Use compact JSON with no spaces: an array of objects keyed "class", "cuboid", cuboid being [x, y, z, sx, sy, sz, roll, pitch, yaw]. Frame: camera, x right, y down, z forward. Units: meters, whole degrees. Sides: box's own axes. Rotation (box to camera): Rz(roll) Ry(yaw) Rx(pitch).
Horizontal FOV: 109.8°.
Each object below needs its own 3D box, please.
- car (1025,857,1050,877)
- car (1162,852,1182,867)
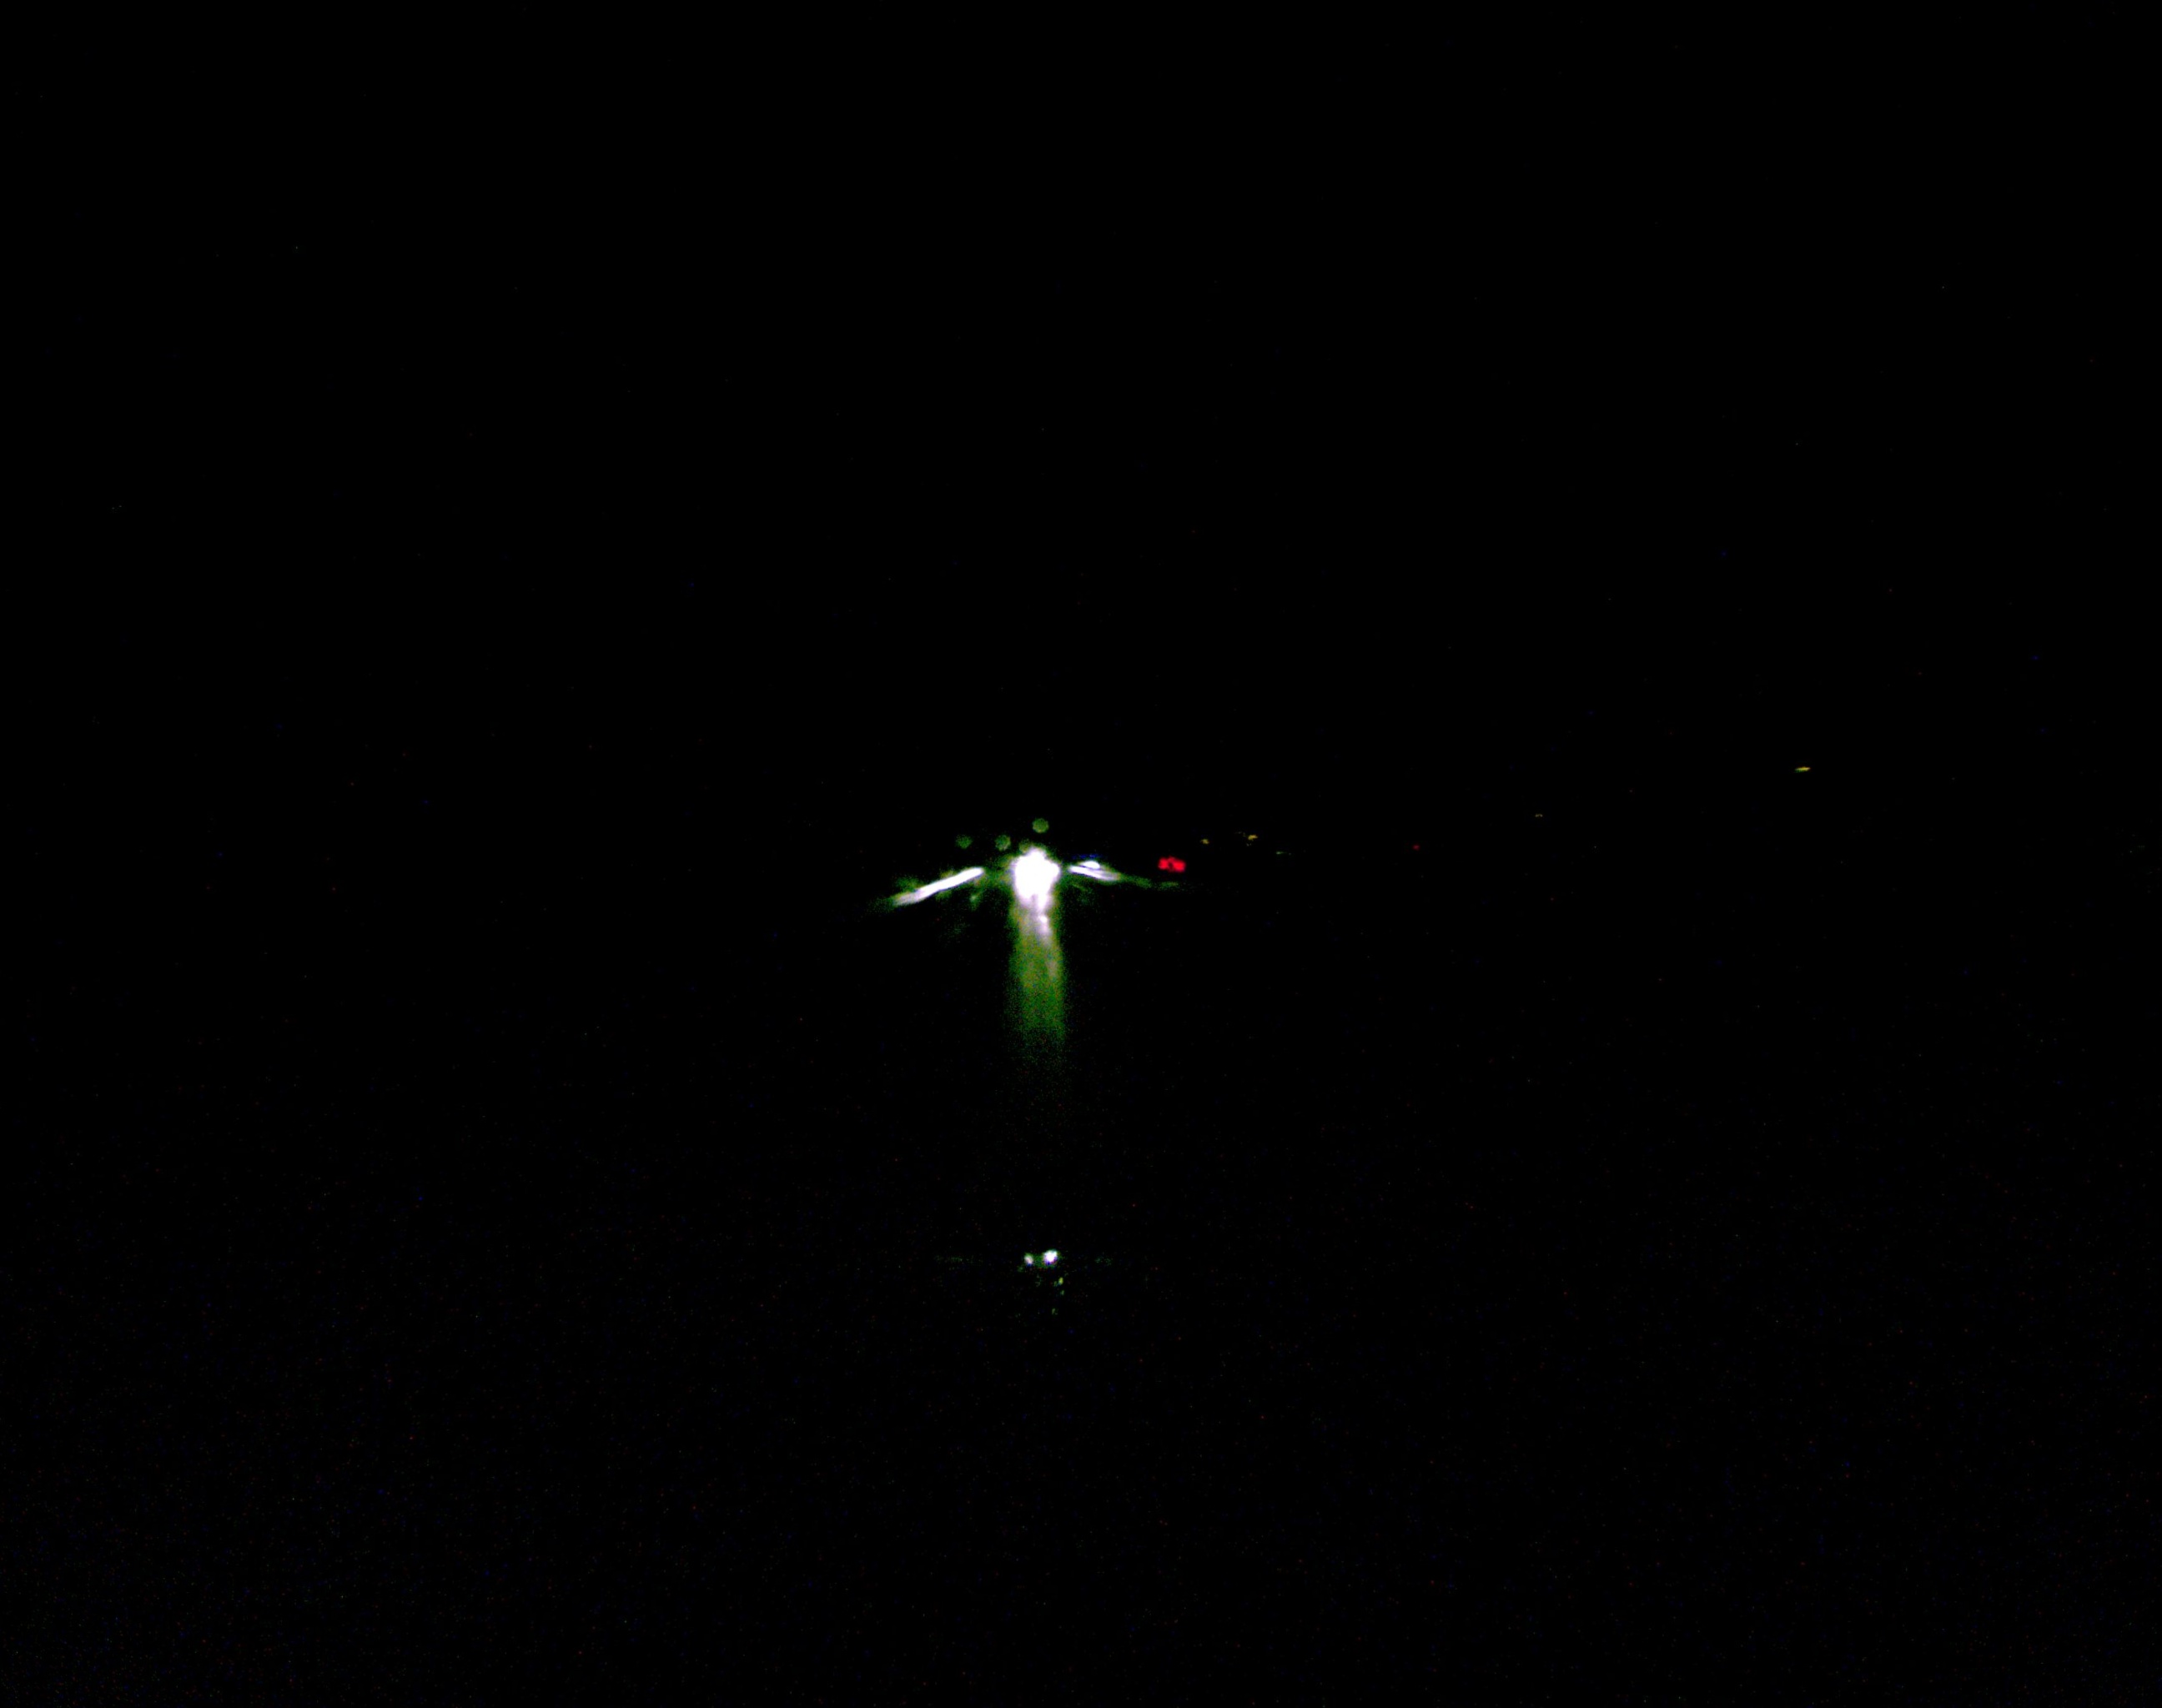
[{"class":"car","cuboid":[-3.883,1.161,68.878,1.999,1.737,4.100,-2,-1,-1]},{"class":"car","cuboid":[10.253,0.605,85.512,1.758,1.630,4.001,-2,-1,0]}]
